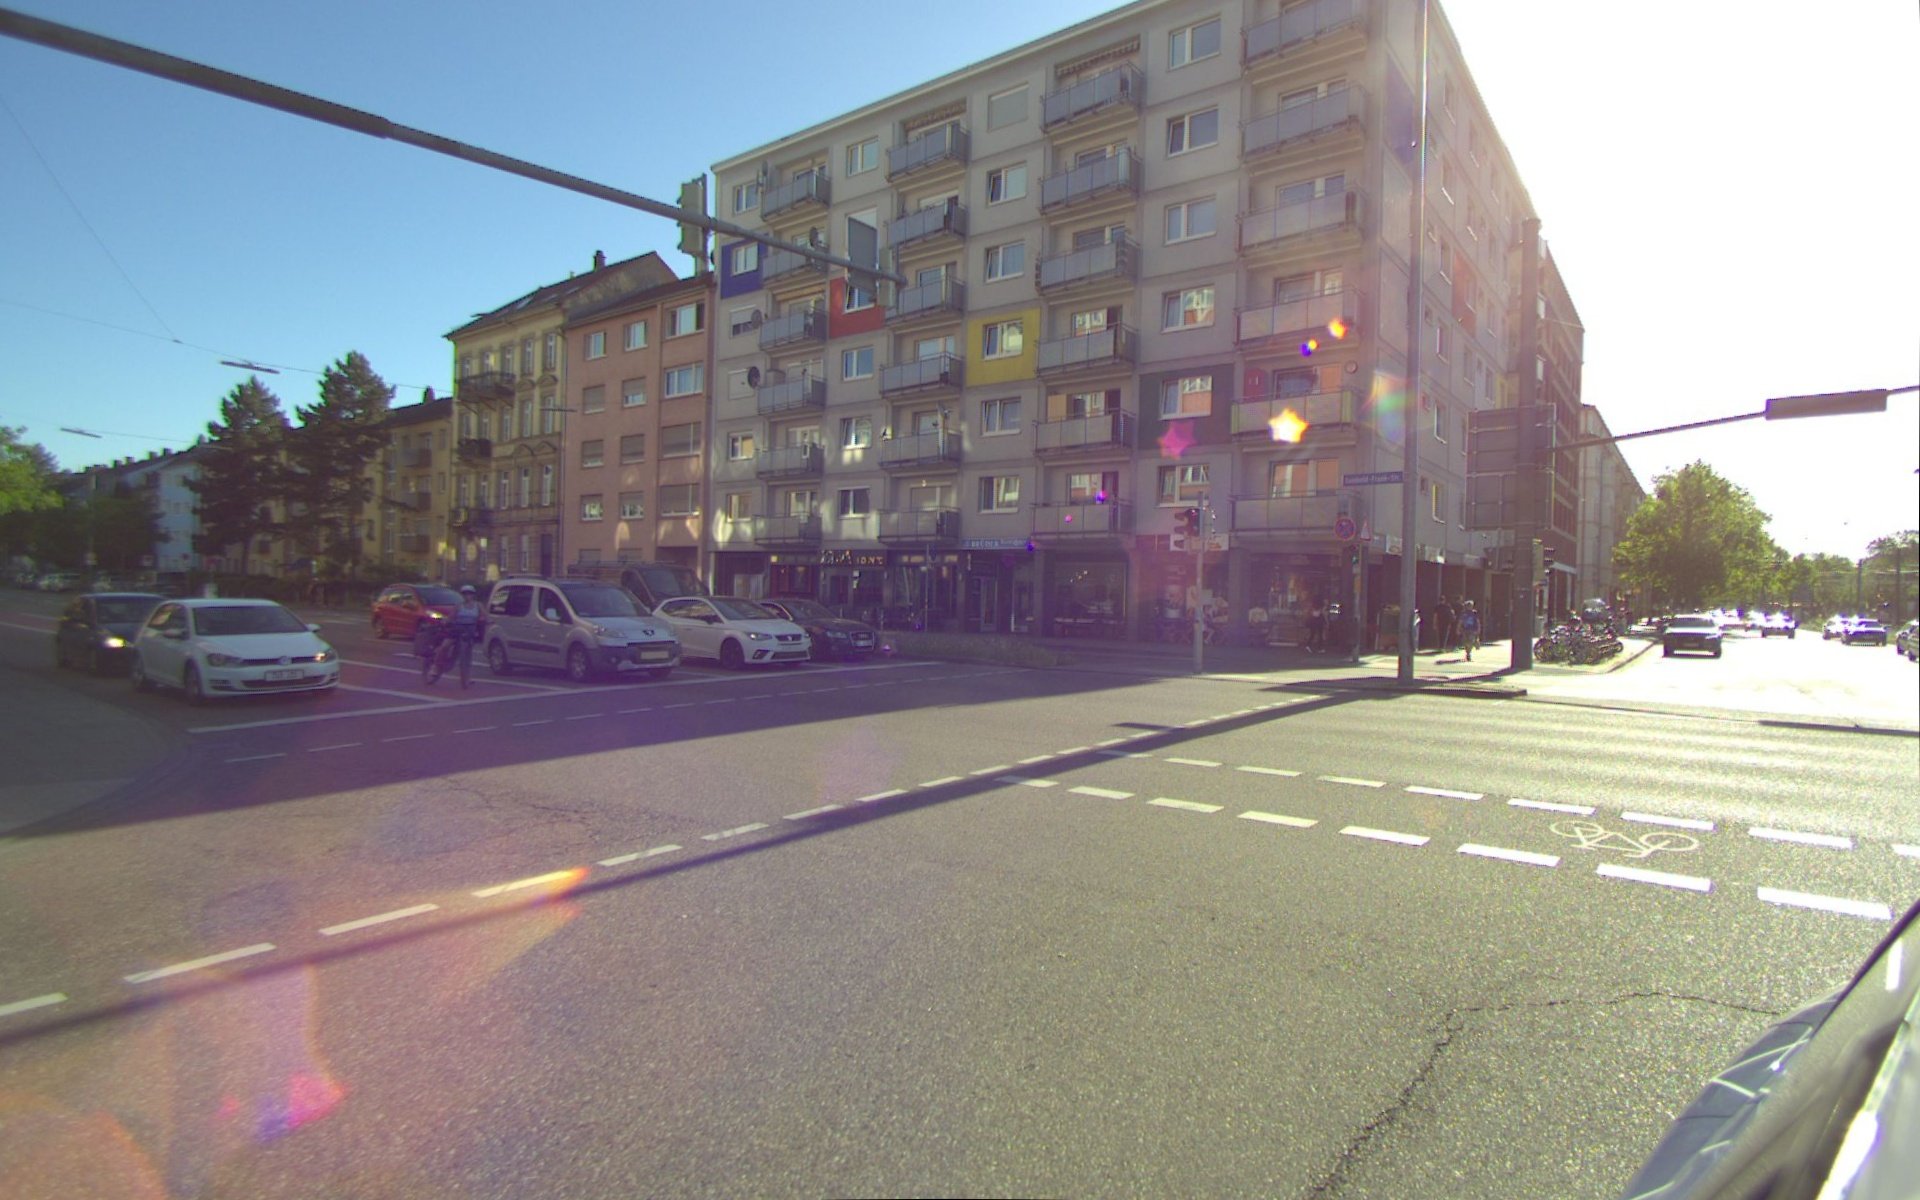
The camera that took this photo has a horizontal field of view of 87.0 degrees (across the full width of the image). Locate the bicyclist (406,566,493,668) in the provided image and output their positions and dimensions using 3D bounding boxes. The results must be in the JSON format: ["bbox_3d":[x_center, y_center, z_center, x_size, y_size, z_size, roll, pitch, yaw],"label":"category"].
[{"bbox_3d":[-8.291,0.266,16.442,0.929,1.580,0.929,-1,-1,35],"label":"bicyclist"}]

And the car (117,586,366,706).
[{"bbox_3d":[-10.879,0.620,15.236,4.137,1.521,1.822,-1,1,36],"label":"car"}]

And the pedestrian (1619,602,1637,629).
[{"bbox_3d":[41.549,0.969,62.932,0.659,1.672,0.772,1,0,-41],"label":"pedestrian"}]

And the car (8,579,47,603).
[{"bbox_3d":[-84.182,-0.791,91.328,4.222,2.039,1.973,-1,0,38],"label":"car"}]

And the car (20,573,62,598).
[{"bbox_3d":[-79.299,-1.213,87.298,4.222,2.039,1.973,-1,0,38],"label":"car"}]

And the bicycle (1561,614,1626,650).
[{"bbox_3d":[21.283,1.070,34.032,1.812,1.073,0.410,3,2,35],"label":"bicycle"}]

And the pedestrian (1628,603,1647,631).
[{"bbox_3d":[47.231,1.177,70.538,0.856,1.907,1.214,1,0,21],"label":"pedestrian"}]

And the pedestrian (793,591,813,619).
[{"bbox_3d":[-6.887,0.220,44.388,0.660,1.181,0.596,1,0,42],"label":"pedestrian"}]

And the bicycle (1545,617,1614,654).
[{"bbox_3d":[18.901,1.084,30.888,1.746,1.090,0.401,-1,-1,36],"label":"bicycle"}]

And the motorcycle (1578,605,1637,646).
[{"bbox_3d":[25.202,0.967,39.422,1.872,1.447,0.878,3,2,34],"label":"motorcycle"}]

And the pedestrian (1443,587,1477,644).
[{"bbox_3d":[17.104,0.523,34.607,0.789,1.910,0.861,0,0,44],"label":"pedestrian"}]

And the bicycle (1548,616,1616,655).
[{"bbox_3d":[19.166,1.077,31.206,1.744,1.114,0.394,2,1,36],"label":"bicycle"}]

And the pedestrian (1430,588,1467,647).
[{"bbox_3d":[15.656,0.552,32.417,0.861,1.858,1.195,0,0,37],"label":"pedestrian"}]

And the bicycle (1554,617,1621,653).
[{"bbox_3d":[20.491,1.127,33.067,1.813,1.128,0.400,1,0,37],"label":"bicycle"}]

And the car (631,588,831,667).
[{"bbox_3d":[-4.696,0.525,20.579,3.975,1.459,1.825,-1,0,36],"label":"car"}]

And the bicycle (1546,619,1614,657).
[{"bbox_3d":[18.527,1.137,30.271,1.694,1.024,0.405,2,1,35],"label":"bicycle"}]

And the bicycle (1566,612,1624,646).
[{"bbox_3d":[23.803,1.076,37.963,1.811,1.189,0.695,1,1,34],"label":"bicycle"}]

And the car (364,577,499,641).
[{"bbox_3d":[-14.345,0.199,27.360,4.365,1.555,1.800,2,1,41],"label":"car"}]

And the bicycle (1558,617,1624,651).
[{"bbox_3d":[20.775,1.097,33.356,1.813,1.074,0.410,0,0,38],"label":"bicycle"}]

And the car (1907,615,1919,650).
[{"bbox_3d":[41.552,1.366,42.665,1.882,1.448,4.077,-1,-1,37],"label":"car"}]

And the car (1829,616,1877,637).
[{"bbox_3d":[58.758,1.721,66.648,1.977,1.308,4.269,1,0,37],"label":"car"}]

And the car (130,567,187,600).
[{"bbox_3d":[-51.563,-1.046,65.097,4.222,2.039,1.973,-1,0,38],"label":"car"}]

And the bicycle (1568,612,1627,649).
[{"bbox_3d":[22.622,1.068,35.941,1.770,1.245,0.410,1,1,34],"label":"bicycle"}]

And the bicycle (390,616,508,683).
[{"bbox_3d":[-8.328,0.775,16.465,2.135,1.013,0.850,-1,0,36],"label":"bicycle"}]

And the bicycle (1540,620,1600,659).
[{"bbox_3d":[17.781,1.142,29.522,1.427,1.024,0.405,3,2,39],"label":"bicycle"}]

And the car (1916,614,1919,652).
[{"bbox_3d":[36.283,1.248,36.593,1.988,1.448,4.078,-1,0,37],"label":"car"}]

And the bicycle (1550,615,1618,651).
[{"bbox_3d":[19.675,1.027,31.934,1.807,1.096,0.524,-1,-1,35],"label":"bicycle"}]

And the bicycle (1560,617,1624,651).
[{"bbox_3d":[21.030,1.115,33.699,1.812,1.074,0.410,0,-1,35],"label":"bicycle"}]

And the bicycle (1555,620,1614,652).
[{"bbox_3d":[19.445,1.119,31.528,1.539,0.978,0.382,-1,-1,38],"label":"bicycle"}]

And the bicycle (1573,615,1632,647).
[{"bbox_3d":[23.413,1.117,36.904,1.811,1.074,0.410,2,1,34],"label":"bicycle"}]

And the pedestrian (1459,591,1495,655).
[{"bbox_3d":[15.006,0.654,29.354,0.787,1.799,0.863,0,0,37],"label":"pedestrian"}]

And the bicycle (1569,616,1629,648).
[{"bbox_3d":[22.885,1.138,36.256,1.811,1.074,0.410,1,0,34],"label":"bicycle"}]

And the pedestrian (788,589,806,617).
[{"bbox_3d":[-6.990,0.119,43.487,0.562,1.181,0.521,1,0,42],"label":"pedestrian"}]

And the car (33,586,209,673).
[{"bbox_3d":[-15.723,0.474,18.914,4.138,1.444,1.557,0,2,36],"label":"car"}]

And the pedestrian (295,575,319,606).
[{"bbox_3d":[-36.642,-0.520,56.794,0.768,1.695,0.838,-1,-1,20],"label":"pedestrian"}]

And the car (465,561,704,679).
[{"bbox_3d":[-6.822,0.337,18.183,4.576,1.874,1.921,-1,0,38],"label":"car"}]

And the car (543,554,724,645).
[{"bbox_3d":[-8.905,-0.067,27.347,5.235,2.226,2.341,2,1,42],"label":"car"}]

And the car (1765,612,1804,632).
[{"bbox_3d":[58.163,1.505,71.444,1.977,1.308,4.334,1,0,37],"label":"car"}]

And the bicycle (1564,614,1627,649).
[{"bbox_3d":[21.787,1.076,34.723,1.811,1.082,0.410,2,2,34],"label":"bicycle"}]

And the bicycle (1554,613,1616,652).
[{"bbox_3d":[19.978,1.028,32.361,1.634,1.125,0.524,4,2,35],"label":"bicycle"}]

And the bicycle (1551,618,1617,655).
[{"bbox_3d":[20.212,1.171,32.810,1.765,1.068,0.410,3,2,37],"label":"bicycle"}]

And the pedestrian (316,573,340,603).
[{"bbox_3d":[-36.241,-0.689,58.029,0.768,1.695,0.838,-1,-1,20],"label":"pedestrian"}]

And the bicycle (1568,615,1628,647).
[{"bbox_3d":[23.062,1.119,36.614,1.811,1.073,0.410,2,1,34],"label":"bicycle"}]

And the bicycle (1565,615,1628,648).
[{"bbox_3d":[22.154,1.086,35.234,1.811,1.024,0.410,2,1,34],"label":"bicycle"}]

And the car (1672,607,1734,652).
[{"bbox_3d":[30.456,1.157,41.422,1.893,1.708,4.060,1,0,39],"label":"car"}]

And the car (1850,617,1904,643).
[{"bbox_3d":[51.621,1.652,57.009,1.849,1.308,4.041,1,0,37],"label":"car"}]

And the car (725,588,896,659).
[{"bbox_3d":[-3.509,0.499,23.248,1.940,1.487,4.153,-1,0,-42],"label":"car"}]

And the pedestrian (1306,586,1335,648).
[{"bbox_3d":[10.592,0.497,29.702,0.567,1.796,0.653,0,0,45],"label":"pedestrian"}]
